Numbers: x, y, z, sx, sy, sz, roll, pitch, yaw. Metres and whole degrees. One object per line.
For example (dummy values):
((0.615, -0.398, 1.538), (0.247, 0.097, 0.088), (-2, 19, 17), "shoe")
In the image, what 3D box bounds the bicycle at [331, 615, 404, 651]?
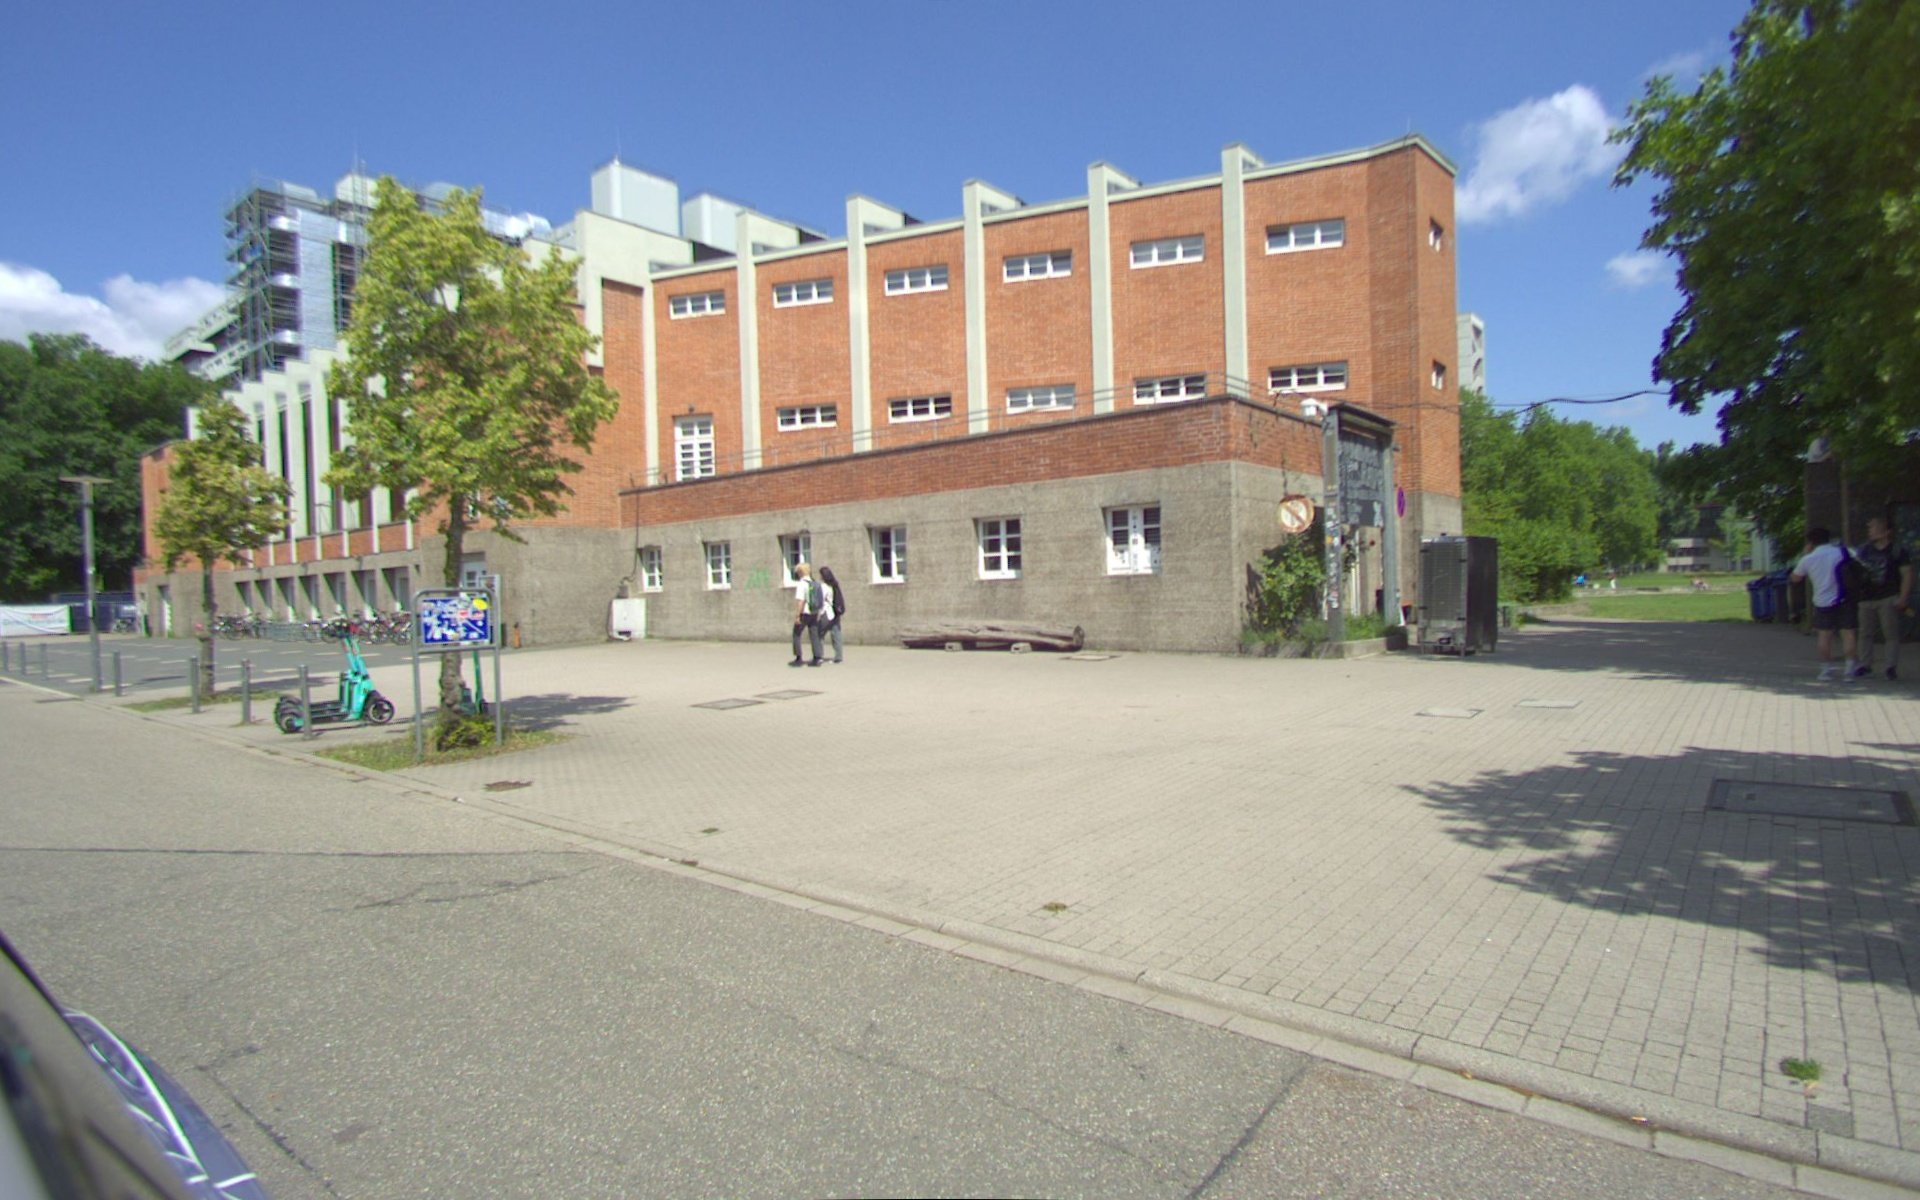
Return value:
((-19.860, 1.102, 33.960), (0.621, 1.090, 1.990), (-1, 1, 38), "bicycle")

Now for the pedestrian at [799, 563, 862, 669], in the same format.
((-2.252, 0.271, 17.629), (0.916, 1.793, 0.570), (-1, 1, 39), "pedestrian")

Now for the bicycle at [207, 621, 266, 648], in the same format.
((-30.749, 1.463, 43.028), (0.529, 1.038, 1.932), (-1, 1, 38), "bicycle")

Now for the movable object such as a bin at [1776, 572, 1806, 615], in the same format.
((20.570, -0.164, 25.056), (0.520, 1.019, 0.586), (-1, 1, 38), "movable object such as a bin")

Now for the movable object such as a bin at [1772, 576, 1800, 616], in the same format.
((21.367, -0.096, 26.193), (0.532, 1.010, 0.489), (-1, 1, 38), "movable object such as a bin")

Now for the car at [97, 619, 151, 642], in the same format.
((-49.167, 1.792, 59.522), (0.794, 1.189, 2.338), (-1, 1, 41), "car")

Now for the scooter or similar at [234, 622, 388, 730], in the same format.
((-8.272, 0.943, 12.959), (1.548, 1.234, 0.572), (-2, 1, -23), "scooter or similar")

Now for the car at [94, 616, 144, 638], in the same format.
((-50.468, 1.629, 60.748), (0.524, 1.189, 2.259), (-1, 1, 41), "car")

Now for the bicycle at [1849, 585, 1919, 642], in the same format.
((15.062, 0.209, 16.213), (1.231, 0.890, 0.301), (-1, 1, 42), "bicycle")

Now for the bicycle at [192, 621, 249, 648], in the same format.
((-32.602, 1.509, 44.652), (0.518, 1.038, 1.932), (-1, 1, 38), "bicycle")

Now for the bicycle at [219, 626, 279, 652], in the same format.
((-29.526, 1.596, 42.065), (0.568, 0.947, 1.932), (-1, 1, 38), "bicycle")

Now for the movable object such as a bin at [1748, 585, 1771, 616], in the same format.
((24.092, 0.016, 30.501), (0.532, 0.925, 0.489), (-1, 1, 38), "movable object such as a bin")

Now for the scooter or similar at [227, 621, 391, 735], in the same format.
((-7.824, 0.913, 12.235), (1.548, 1.234, 0.567), (-2, 1, -23), "scooter or similar")

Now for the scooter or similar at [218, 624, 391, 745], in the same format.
((-7.435, 0.934, 11.551), (1.548, 1.234, 0.526), (-2, 1, -23), "scooter or similar")

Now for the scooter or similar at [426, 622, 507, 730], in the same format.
((-5.882, 0.867, 12.033), (0.556, 1.157, 1.352), (-2, 1, -38), "scooter or similar")

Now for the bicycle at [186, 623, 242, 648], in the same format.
((-33.280, 1.572, 45.157), (0.541, 1.038, 1.932), (-1, 1, 38), "bicycle")

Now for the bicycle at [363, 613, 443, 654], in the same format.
((-16.963, 1.009, 30.858), (0.666, 1.134, 2.002), (-1, 1, 38), "bicycle")

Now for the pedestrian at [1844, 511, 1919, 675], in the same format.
((10.259, -0.084, 10.959), (0.481, 1.733, 0.883), (-1, 2, -22), "pedestrian")

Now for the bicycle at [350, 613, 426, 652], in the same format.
((-18.187, 1.022, 32.225), (0.592, 1.134, 2.001), (-1, 1, 40), "bicycle")

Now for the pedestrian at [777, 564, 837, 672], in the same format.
((-2.602, 0.293, 17.196), (0.805, 1.775, 0.557), (-1, 1, 39), "pedestrian")

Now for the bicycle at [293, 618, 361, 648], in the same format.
((-22.645, 1.170, 36.220), (0.684, 0.967, 1.932), (-1, 1, 38), "bicycle")

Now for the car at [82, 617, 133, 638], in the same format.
((-52.411, 1.688, 62.246), (0.479, 1.189, 2.295), (-1, 1, 41), "car")

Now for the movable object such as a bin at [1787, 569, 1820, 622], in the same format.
((19.069, -0.105, 22.885), (0.520, 1.151, 0.586), (-1, 1, 38), "movable object such as a bin")

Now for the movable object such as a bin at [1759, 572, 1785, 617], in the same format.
((22.234, -0.161, 27.725), (0.532, 1.209, 0.489), (-1, 1, 38), "movable object such as a bin")

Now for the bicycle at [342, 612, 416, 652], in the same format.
((-18.860, 1.018, 32.898), (0.439, 1.134, 2.000), (-1, 2, 43), "bicycle")

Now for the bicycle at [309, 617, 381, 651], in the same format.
((-21.298, 1.170, 35.069), (0.662, 1.069, 2.002), (-1, 1, 38), "bicycle")

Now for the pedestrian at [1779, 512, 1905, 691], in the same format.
((9.441, 0.006, 10.855), (0.441, 1.833, 0.883), (-1, 2, -22), "pedestrian")
